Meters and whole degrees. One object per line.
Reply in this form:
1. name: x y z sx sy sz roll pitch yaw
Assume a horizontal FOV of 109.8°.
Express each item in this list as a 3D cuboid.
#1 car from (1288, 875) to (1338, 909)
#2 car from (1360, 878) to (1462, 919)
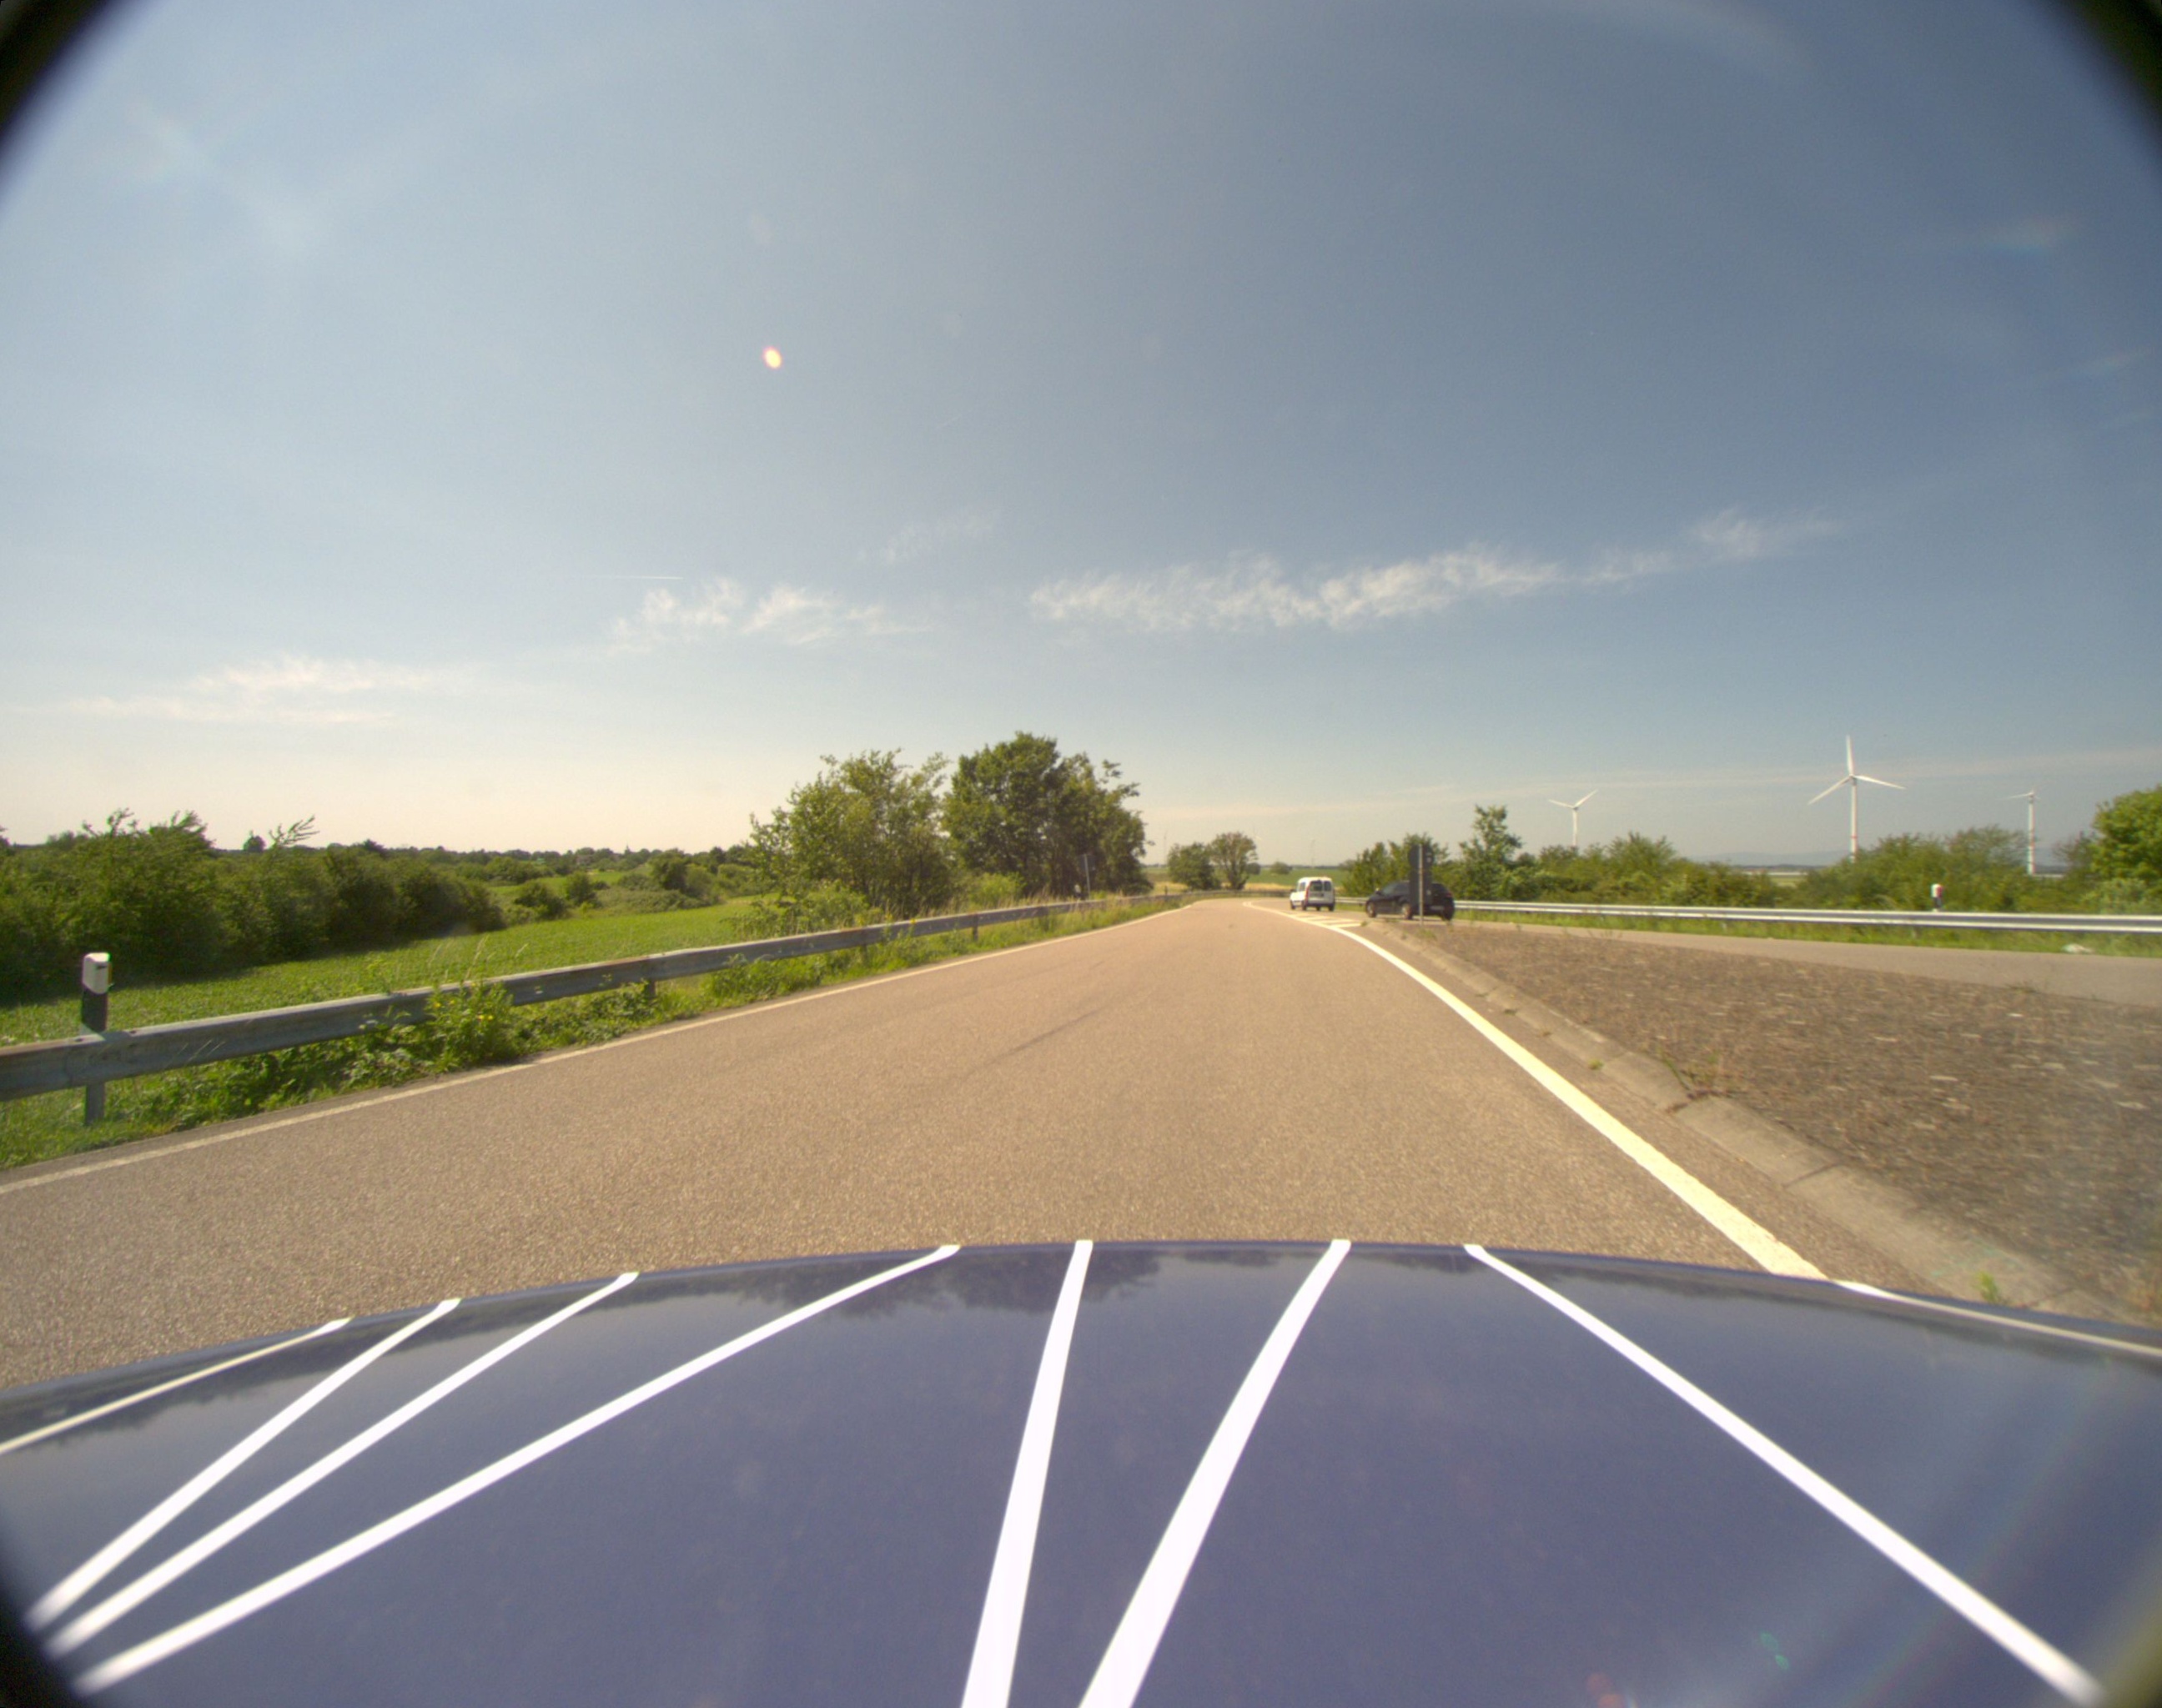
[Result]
1. car: 12.612 2.051 41.557 1.740 1.750 4.086 0 -3 4
2. car: 12.225 1.657 28.394 1.714 1.387 3.886 2 -3 -8
